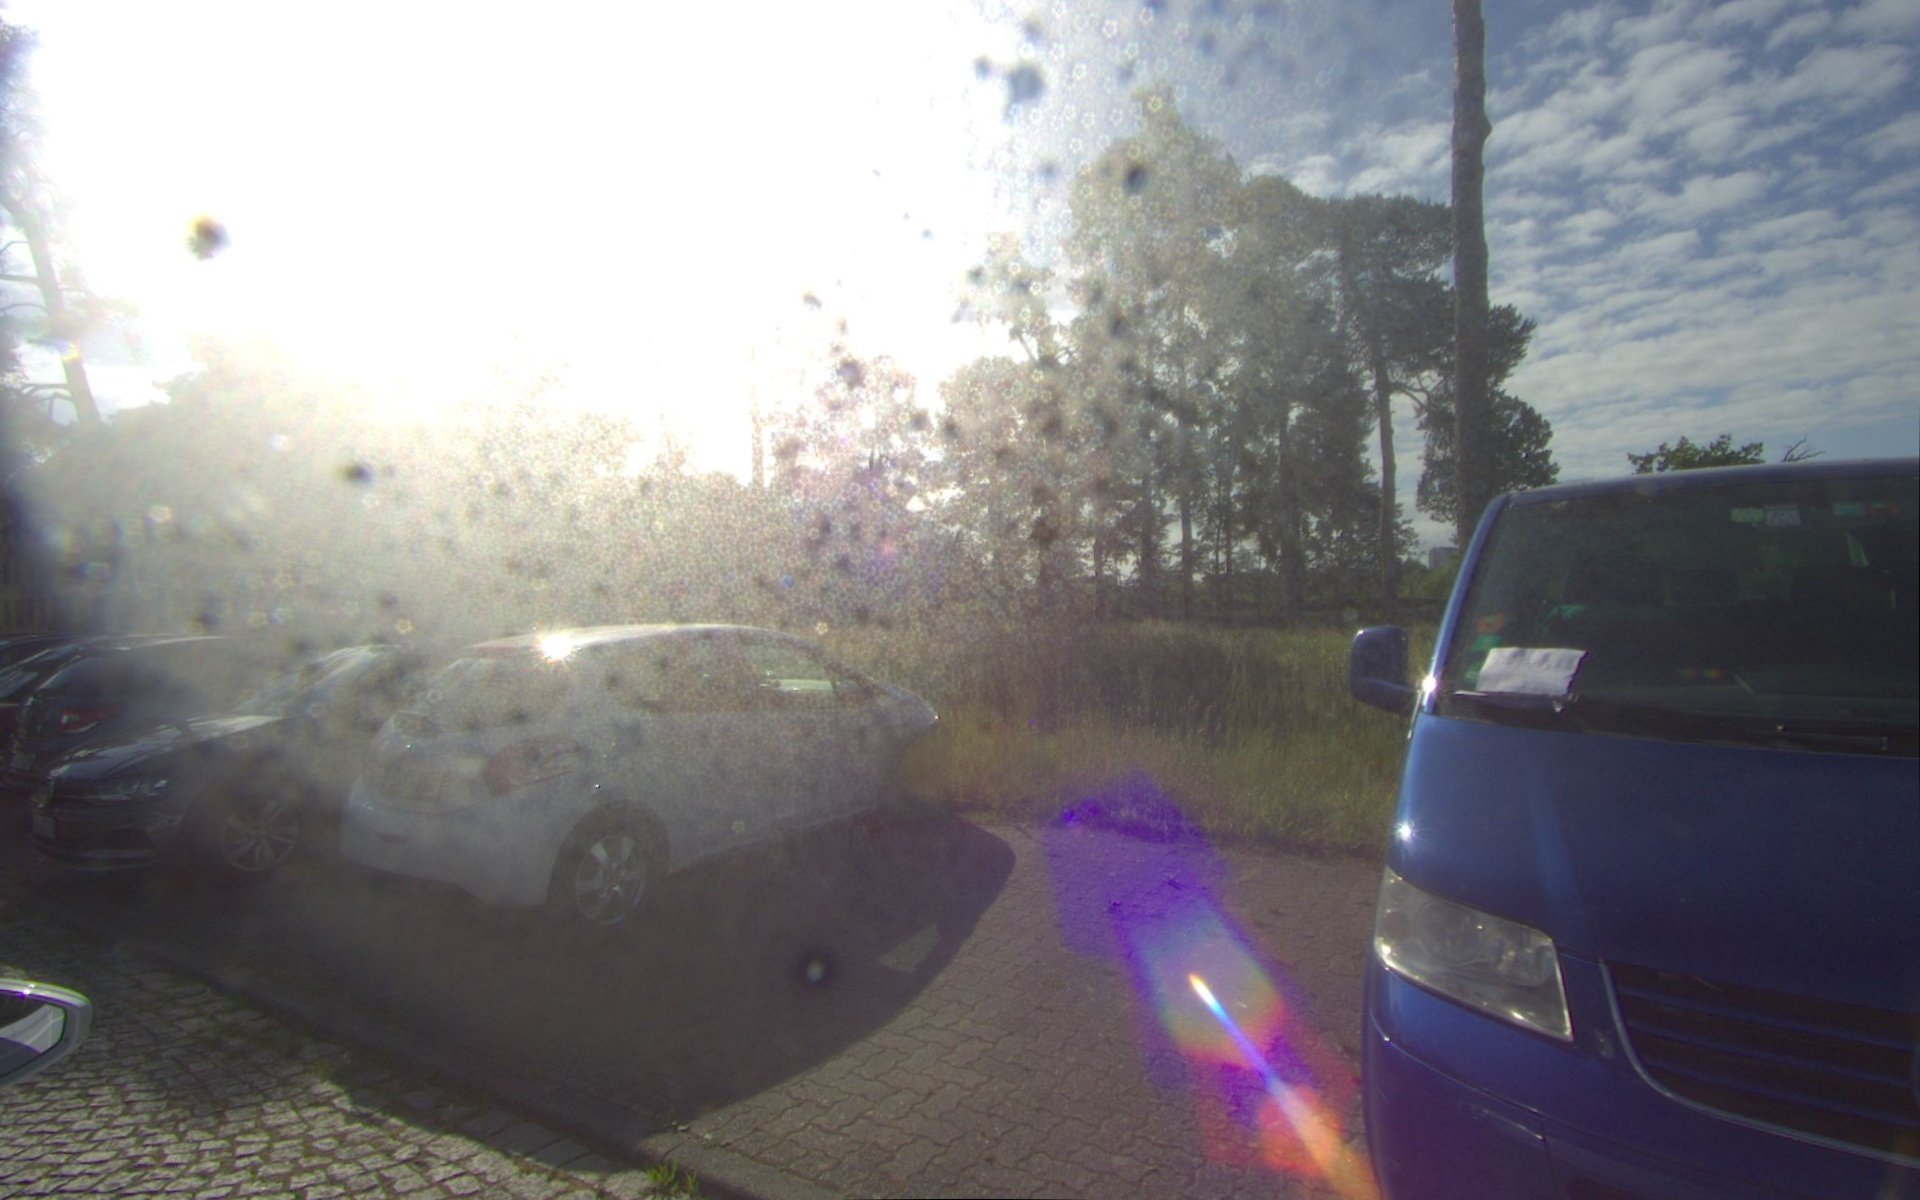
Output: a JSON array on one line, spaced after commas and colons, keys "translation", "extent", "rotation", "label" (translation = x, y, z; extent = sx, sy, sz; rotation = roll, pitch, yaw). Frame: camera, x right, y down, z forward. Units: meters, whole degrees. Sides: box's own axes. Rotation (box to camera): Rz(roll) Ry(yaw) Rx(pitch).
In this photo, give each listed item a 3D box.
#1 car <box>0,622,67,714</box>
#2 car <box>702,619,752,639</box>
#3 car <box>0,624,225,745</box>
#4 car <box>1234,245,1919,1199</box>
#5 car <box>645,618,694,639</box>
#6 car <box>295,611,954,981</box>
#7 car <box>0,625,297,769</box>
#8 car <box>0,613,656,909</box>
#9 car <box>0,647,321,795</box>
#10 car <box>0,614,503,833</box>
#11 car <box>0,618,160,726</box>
[{"translation": [-16.933, 1.167, 15.970], "extent": [1.641, 1.462, 3.664], "rotation": [-1, 1, 32], "label": "car"}, {"translation": [-18.270, 2.275, 78.521], "extent": [1.743, 1.517, 3.626], "rotation": [-1, -1, 34], "label": "car"}, {"translation": [-12.533, 1.104, 13.064], "extent": [1.763, 1.407, 4.390], "rotation": [-1, 1, 31], "label": "car"}, {"translation": [2.611, 0.486, 3.301], "extent": [1.972, 2.041, 4.742], "rotation": [-1, 1, 32], "label": "car"}, {"translation": [-24.126, 2.364, 83.152], "extent": [1.743, 1.693, 3.626], "rotation": [-1, -1, 34], "label": "car"}, {"translation": [-1.699, 0.852, 6.152], "extent": [1.611, 1.511, 3.637], "rotation": [-1, 0, 32], "label": "car"}, {"translation": [-10.552, 1.094, 12.048], "extent": [1.632, 1.468, 3.971], "rotation": [-1, 0, 31], "label": "car"}, {"translation": [-4.344, 0.891, 7.373], "extent": [1.733, 1.470, 3.770], "rotation": [-1, 1, 34], "label": "car"}, {"translation": [-8.832, 1.167, 10.354], "extent": [1.515, 1.258, 3.453], "rotation": [-1, -1, 32], "label": "car"}, {"translation": [-6.465, 0.949, 9.367], "extent": [1.643, 1.474, 3.654], "rotation": [-1, 1, 32], "label": "car"}, {"translation": [-14.904, 1.112, 14.656], "extent": [1.842, 1.475, 4.611], "rotation": [-1, 1, 30], "label": "car"}]
